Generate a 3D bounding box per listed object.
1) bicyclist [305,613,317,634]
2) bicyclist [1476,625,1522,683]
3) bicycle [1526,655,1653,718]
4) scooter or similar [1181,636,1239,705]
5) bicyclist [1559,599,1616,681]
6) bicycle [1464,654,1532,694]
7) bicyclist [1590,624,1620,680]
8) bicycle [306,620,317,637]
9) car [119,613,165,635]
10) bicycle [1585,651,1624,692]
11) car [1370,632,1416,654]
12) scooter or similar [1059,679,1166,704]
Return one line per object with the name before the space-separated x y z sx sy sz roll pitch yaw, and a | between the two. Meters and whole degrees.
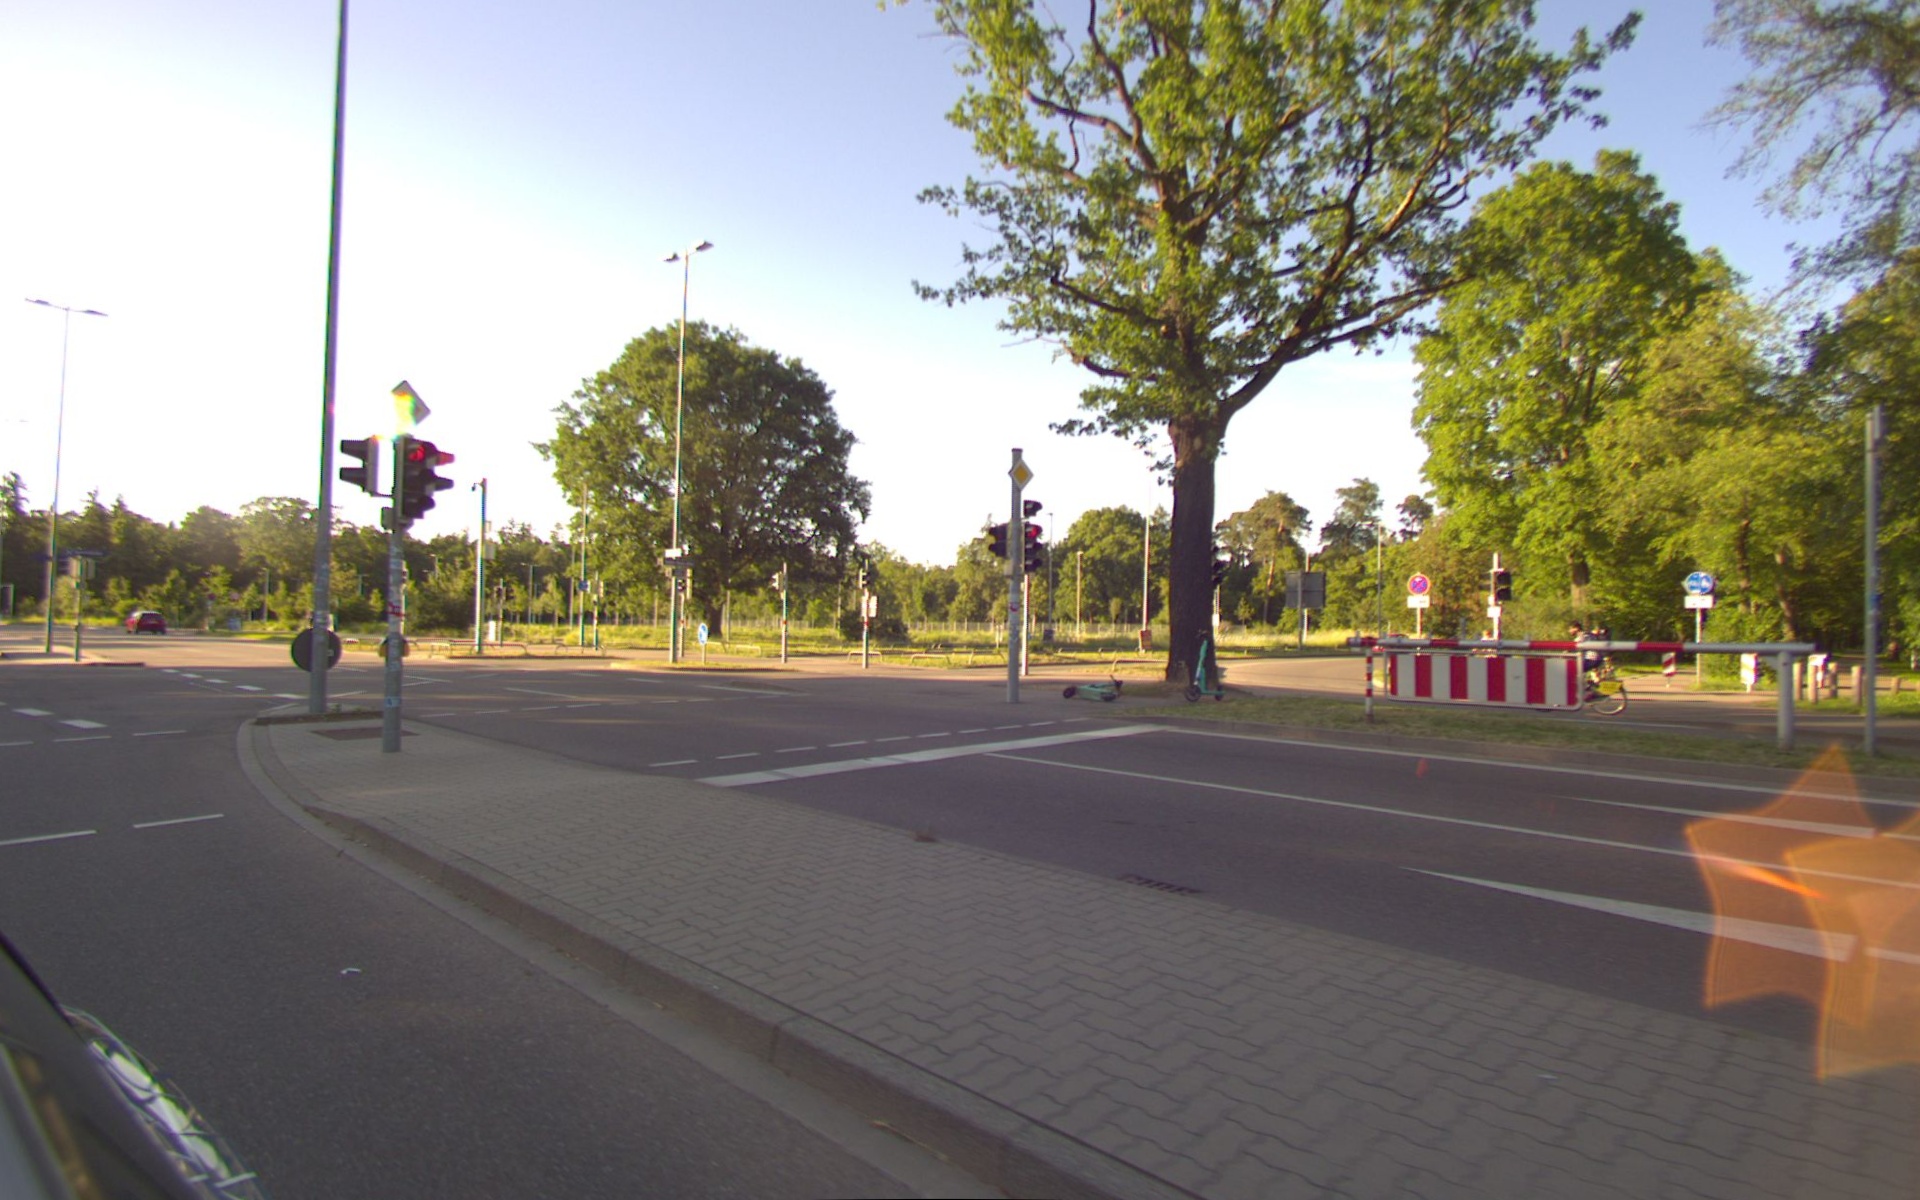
bicyclist | -50.004 1.834 78.007 0.672 1.623 0.801 0 -1 -39
bicyclist | 14.284 1.421 26.834 0.786 1.494 0.732 0 -1 -25
bicycle | 12.197 1.664 19.695 1.973 1.163 0.676 -2 -3 25
scooter or similar | 4.286 1.190 17.337 1.053 1.155 0.395 2 -3 -39
bicyclist | 12.193 0.785 19.691 0.795 1.563 0.559 -3 -3 25
bicycle | 14.249 1.946 26.806 1.563 0.984 0.787 0 -1 -25
bicyclist | 16.695 1.345 26.204 0.521 1.411 0.519 0 -1 -41
bicycle | -49.951 2.202 77.970 0.487 1.247 1.798 0 -1 -40
car | -60.172 1.747 74.447 4.571 1.565 1.866 -1 -1 41
bicycle | 16.672 1.846 26.180 1.334 0.984 0.523 0 -1 -42
car | 32.513 3.182 75.950 3.938 1.521 1.659 0 -1 -42
scooter or similar | 2.679 1.601 17.816 1.389 0.342 1.262 2 -3 -38
